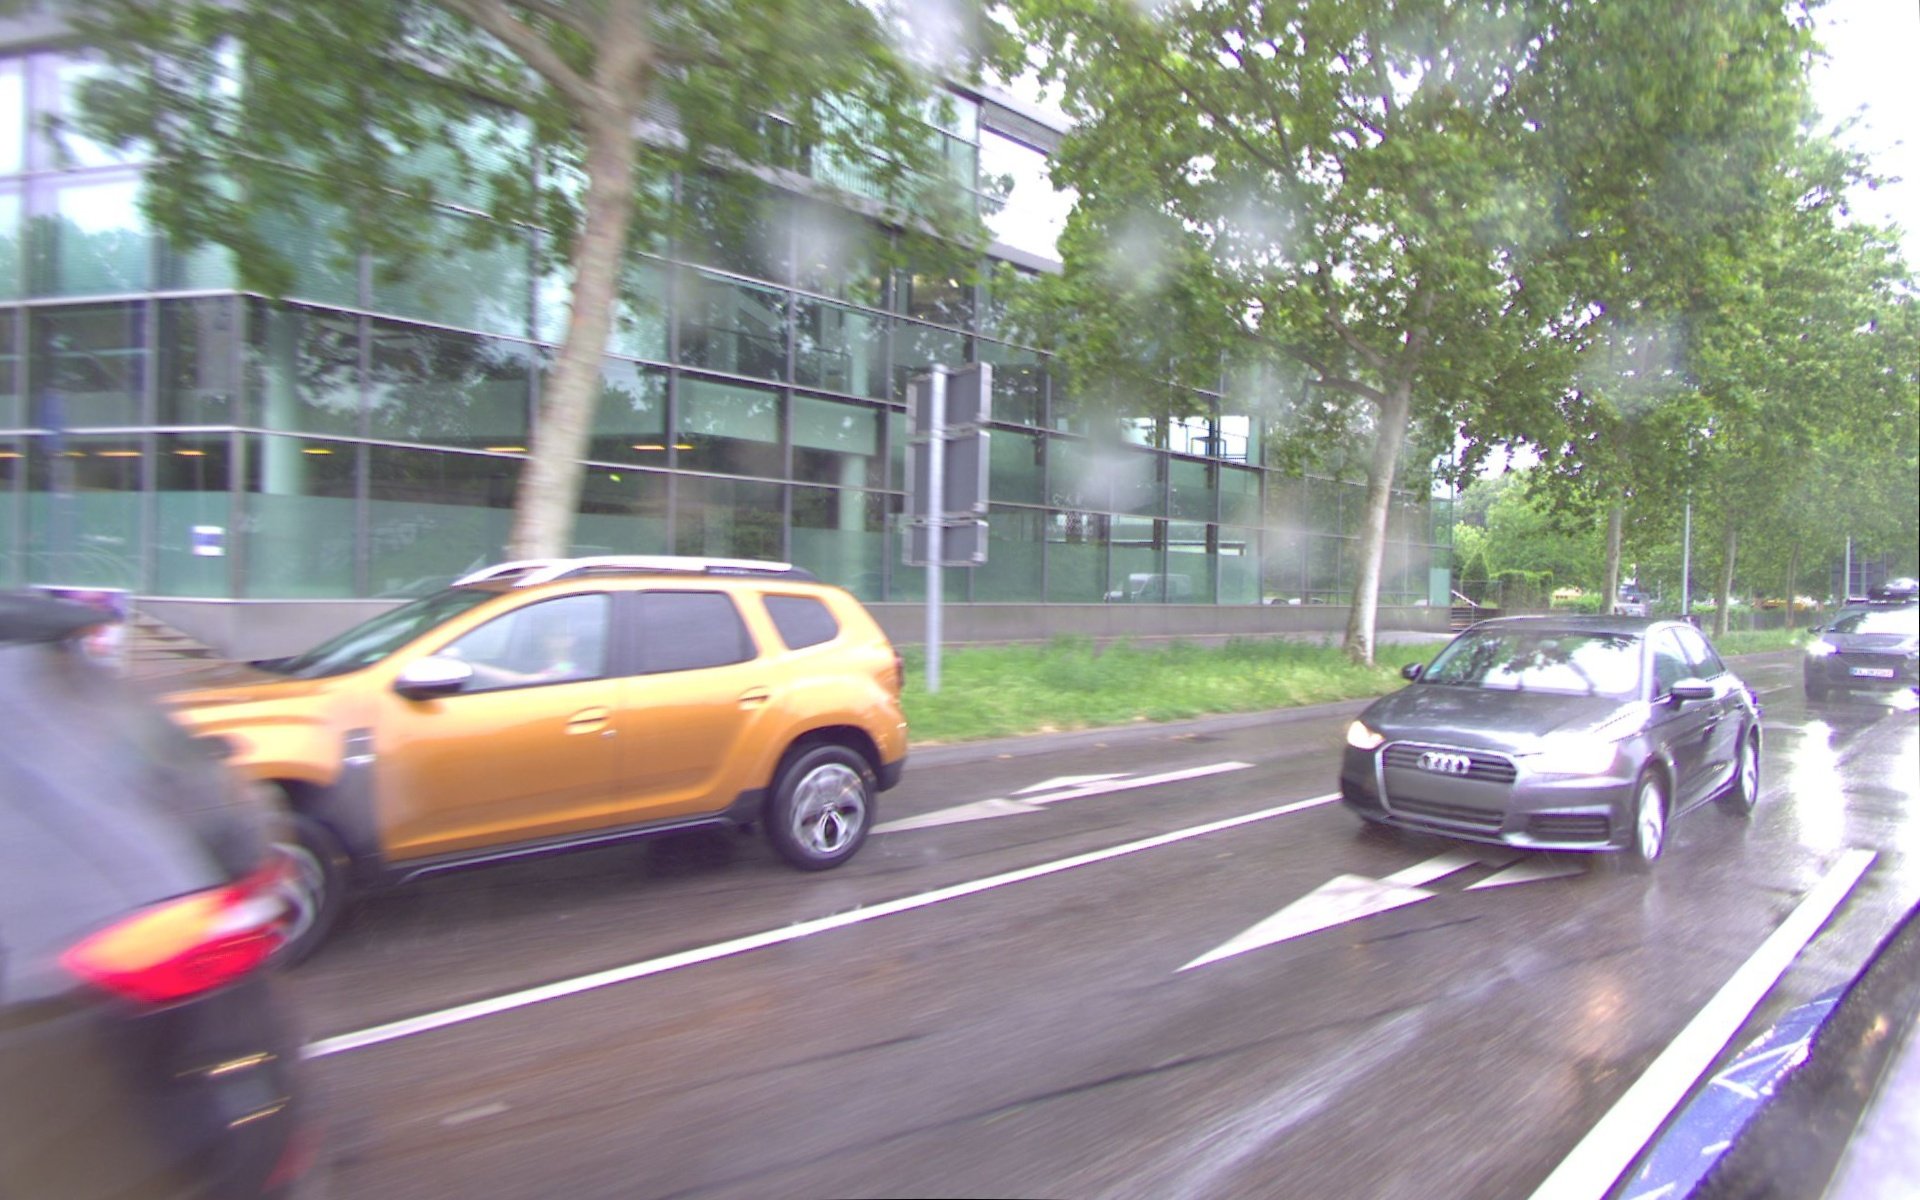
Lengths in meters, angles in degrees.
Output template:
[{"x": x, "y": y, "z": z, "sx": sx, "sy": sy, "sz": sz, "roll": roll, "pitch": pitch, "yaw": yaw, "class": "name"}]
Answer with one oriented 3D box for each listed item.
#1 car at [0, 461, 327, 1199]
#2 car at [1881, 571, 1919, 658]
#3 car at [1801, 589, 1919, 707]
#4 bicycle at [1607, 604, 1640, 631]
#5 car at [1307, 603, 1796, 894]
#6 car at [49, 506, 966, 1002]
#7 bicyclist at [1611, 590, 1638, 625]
[{"x": -3.024, "y": 0.571, "z": 0.838, "sx": 4.015, "sy": 1.542, "sz": 1.874, "roll": 1, "pitch": 1, "yaw": -40, "class": "car"}, {"x": 29.317, "y": 0.429, "z": 30.345, "sx": 4.892, "sy": 2.461, "sz": 1.997, "roll": 1, "pitch": 1, "yaw": -42, "class": "car"}, {"x": 15.946, "y": 0.741, "z": 17.147, "sx": 4.253, "sy": 1.770, "sz": 1.997, "roll": 1, "pitch": 1, "yaw": -42, "class": "car"}, {"x": 30.117, "y": 0.779, "z": 45.926, "sx": 2.043, "sy": 1.118, "sz": 0.744, "roll": 0, "pitch": 3, "yaw": -44, "class": "bicycle"}, {"x": 4.140, "y": 0.734, "z": 6.864, "sx": 3.689, "sy": 1.416, "sz": 1.839, "roll": 0, "pitch": 0, "yaw": -42, "class": "car"}, {"x": -2.122, "y": 0.498, "z": 5.455, "sx": 4.098, "sy": 1.652, "sz": 1.903, "roll": 0, "pitch": 1, "yaw": -42, "class": "car"}, {"x": 30.144, "y": 0.345, "z": 45.898, "sx": 0.740, "sy": 1.533, "sz": 0.805, "roll": 0, "pitch": 4, "yaw": -44, "class": "bicyclist"}]
